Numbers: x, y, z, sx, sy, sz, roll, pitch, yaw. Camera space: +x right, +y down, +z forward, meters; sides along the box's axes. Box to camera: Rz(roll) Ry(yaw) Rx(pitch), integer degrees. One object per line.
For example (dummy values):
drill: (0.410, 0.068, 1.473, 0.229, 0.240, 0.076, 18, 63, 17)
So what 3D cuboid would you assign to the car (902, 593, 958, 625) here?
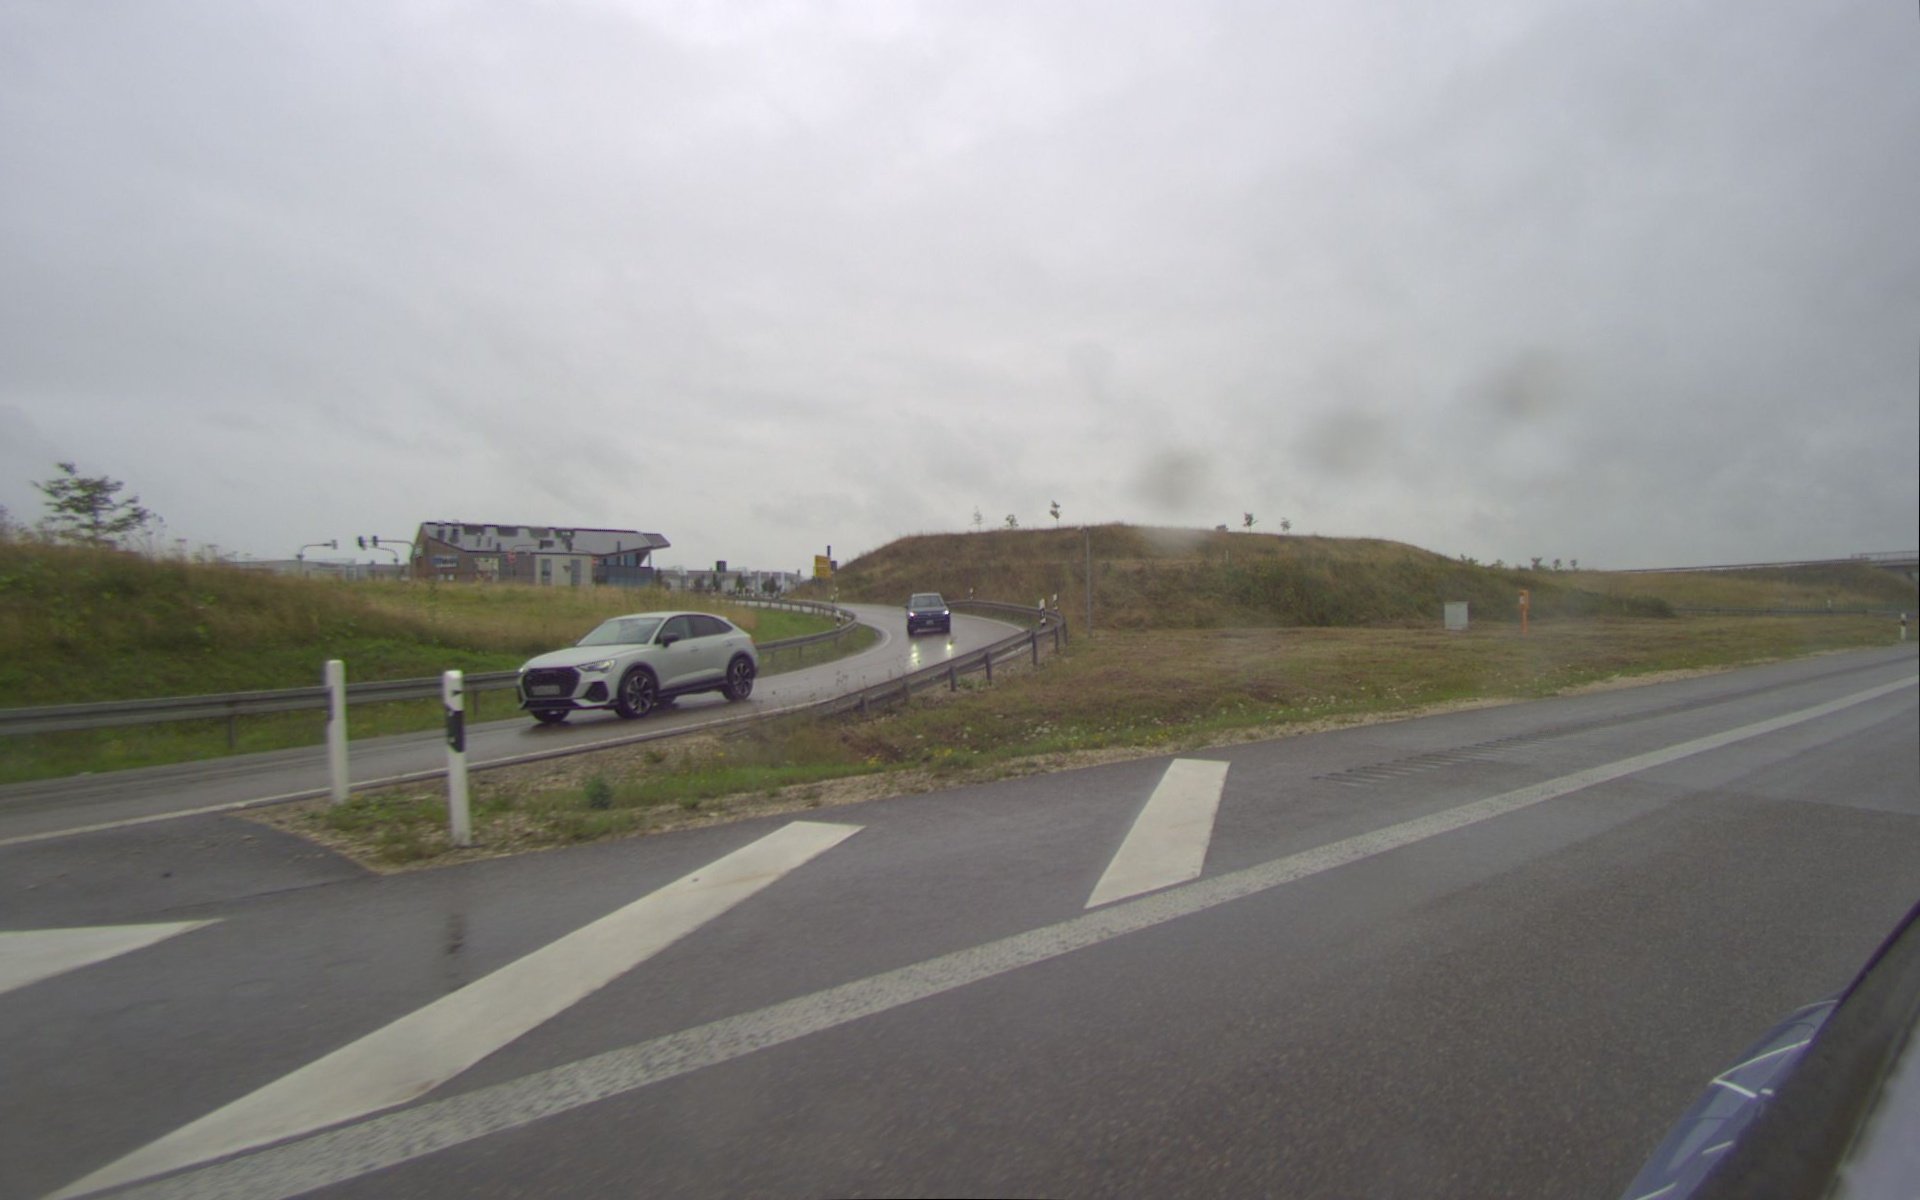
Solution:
car: (-1.365, 0.368, 43.726, 1.783, 1.304, 4.007, -1, 0, -11)

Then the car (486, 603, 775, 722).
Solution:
car: (-4.978, 0.888, 16.024, 1.892, 1.504, 4.444, -4, -1, 22)
